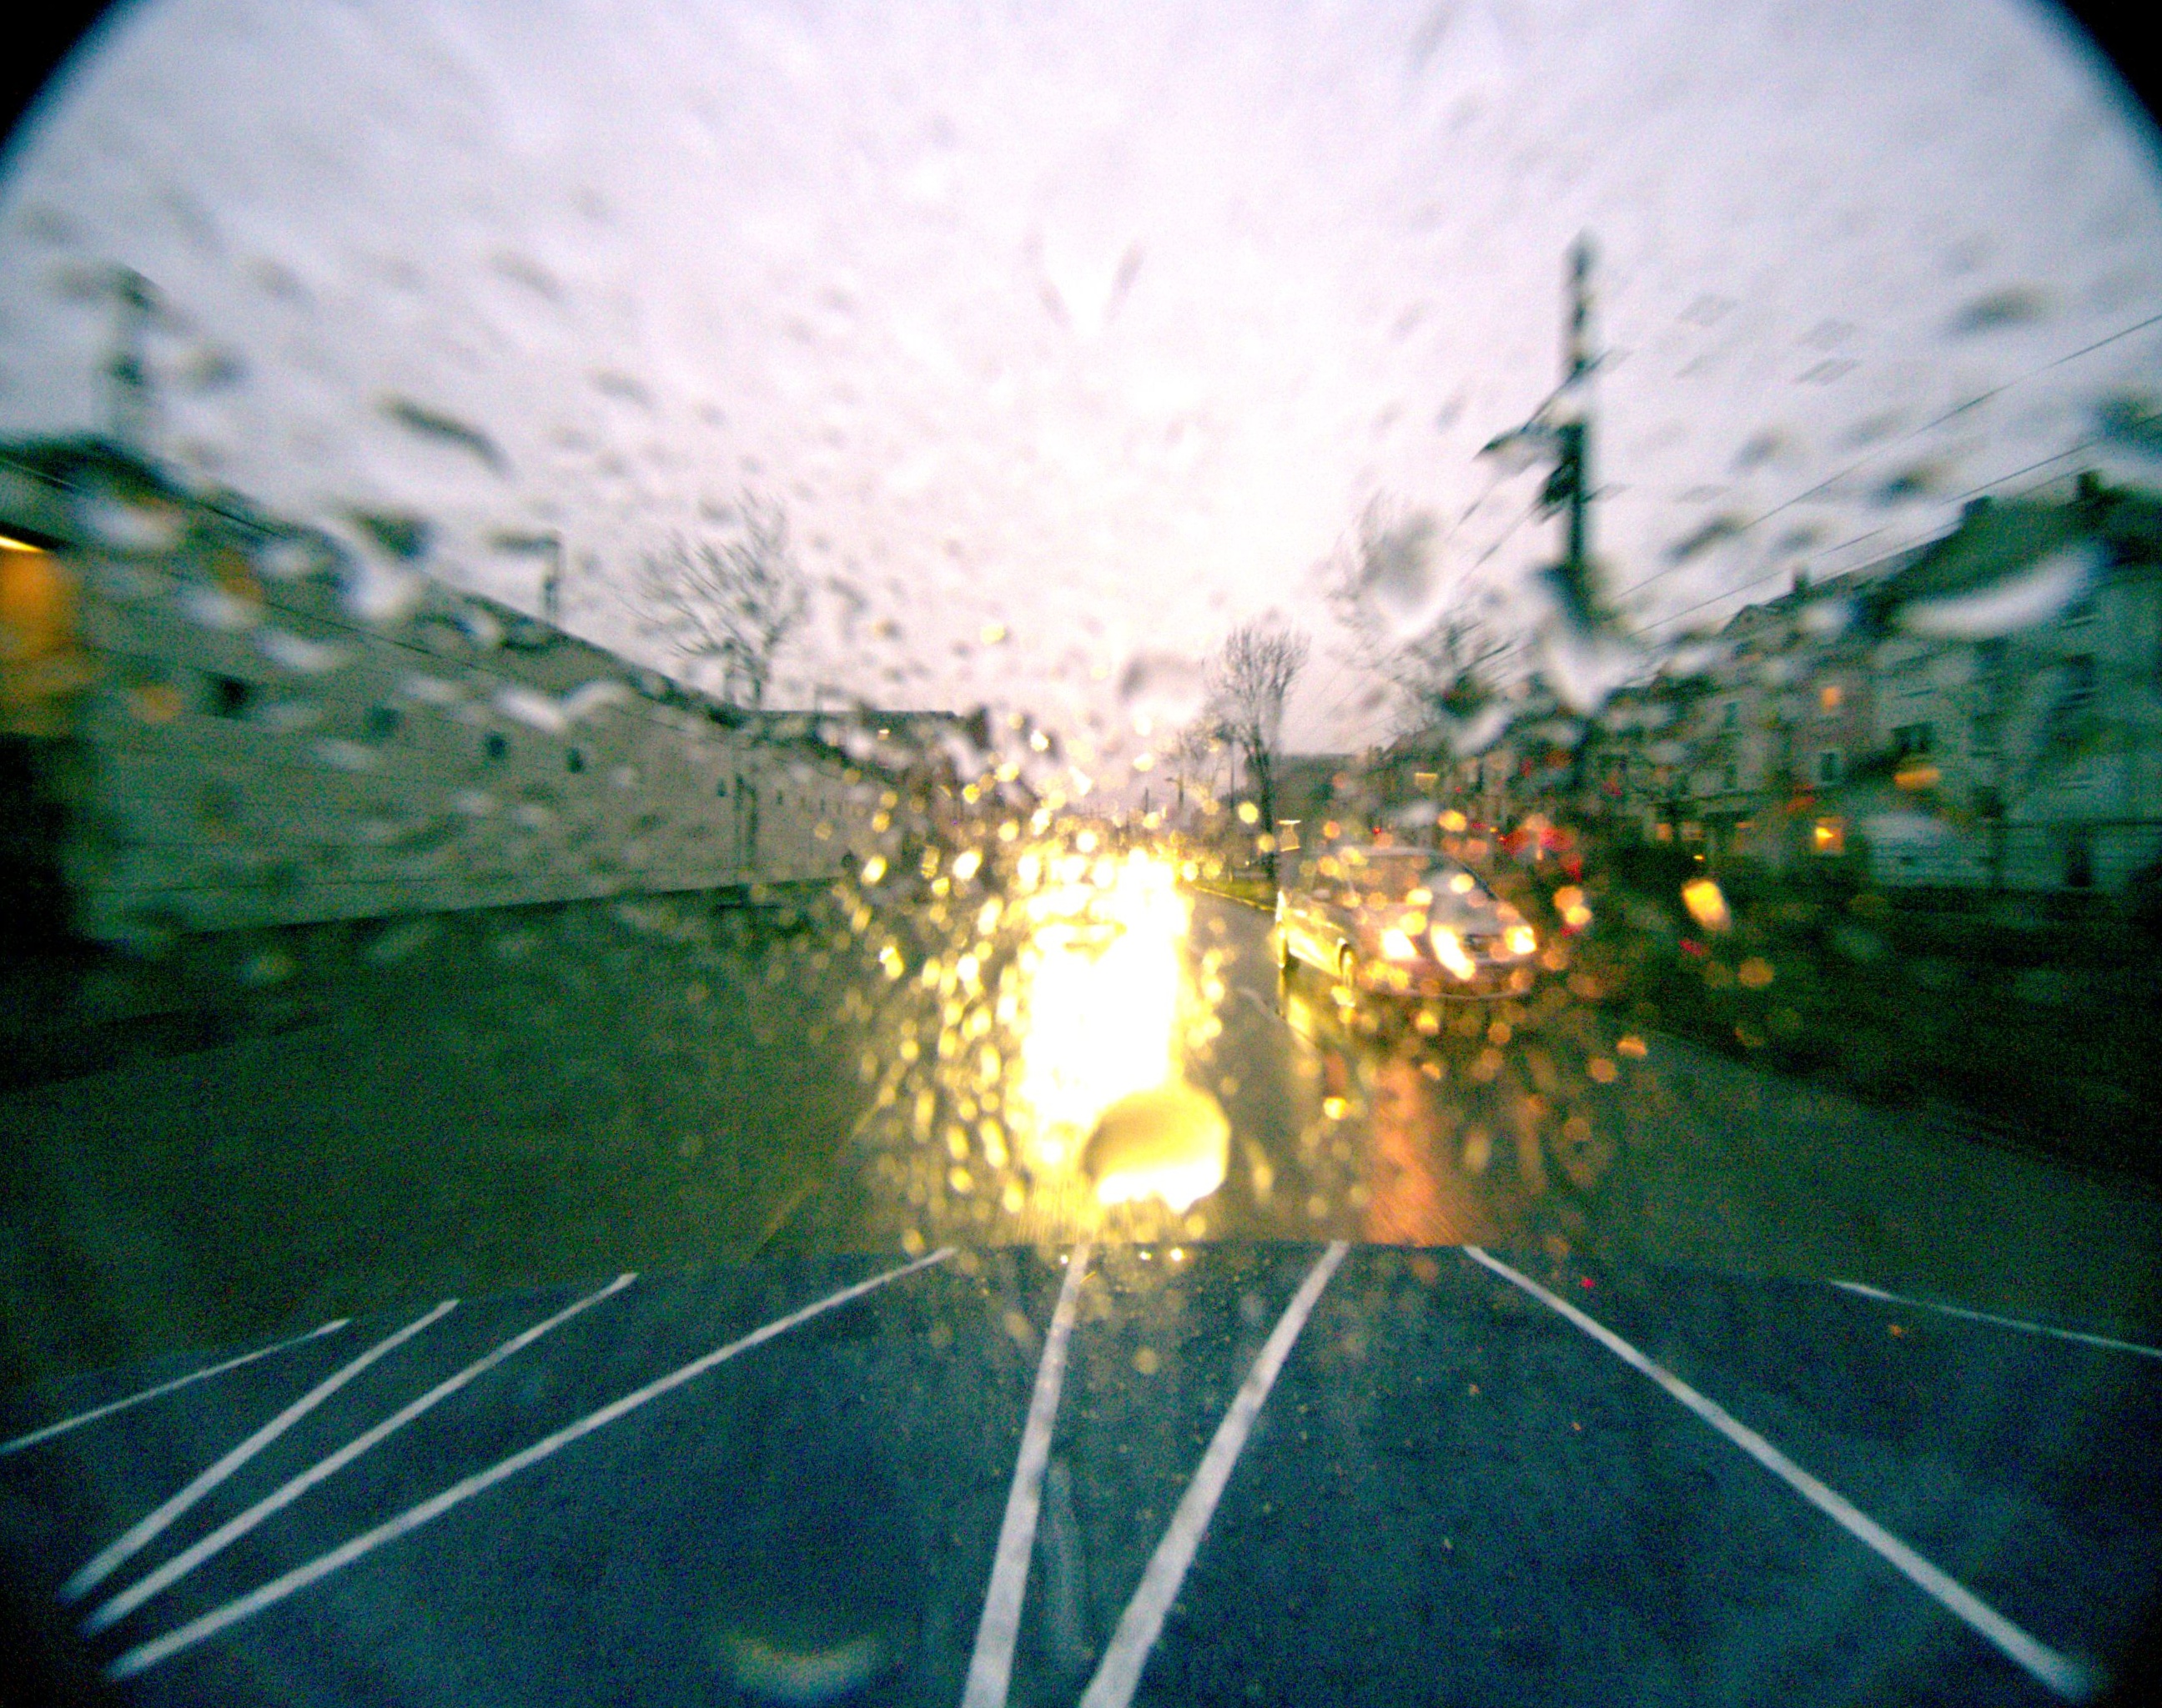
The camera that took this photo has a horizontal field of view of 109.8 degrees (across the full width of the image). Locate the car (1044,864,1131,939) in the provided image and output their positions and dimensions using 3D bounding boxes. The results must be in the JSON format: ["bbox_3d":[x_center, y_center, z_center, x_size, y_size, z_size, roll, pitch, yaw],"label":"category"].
[{"bbox_3d":[0.151,0.958,16.732,1.669,1.325,3.787,-2,1,1],"label":"car"}]

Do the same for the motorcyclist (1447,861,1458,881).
[{"bbox_3d":[20.901,0.955,42.734,0.415,1.054,0.345,-2,1,7],"label":"motorcyclist"}]

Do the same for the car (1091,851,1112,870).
[{"bbox_3d":[1.862,0.596,70.595,1.802,1.674,3.805,-2,1,1],"label":"car"}]

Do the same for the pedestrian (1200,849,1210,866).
[{"bbox_3d":[8.404,0.238,51.401,0.563,1.150,0.582,-2,1,3],"label":"pedestrian"}]

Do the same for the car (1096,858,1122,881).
[{"bbox_3d":[1.764,0.995,49.274,1.538,1.347,3.546,-2,1,1],"label":"car"}]

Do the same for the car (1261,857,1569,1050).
[{"bbox_3d":[3.237,0.838,8.264,1.638,1.510,3.907,-2,1,1],"label":"car"}]

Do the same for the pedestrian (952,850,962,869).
[{"bbox_3d":[-10.496,0.457,64.529,0.674,1.639,0.769,2,1,0],"label":"pedestrian"}]

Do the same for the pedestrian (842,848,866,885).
[{"bbox_3d":[-10.377,0.566,34.775,0.814,1.621,0.883,2,1,0],"label":"pedestrian"}]

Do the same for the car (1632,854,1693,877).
[{"bbox_3d":[47.875,0.939,62.587,3.591,1.685,1.731,-2,1,6],"label":"car"}]

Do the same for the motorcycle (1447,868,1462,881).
[{"bbox_3d":[20.886,1.149,42.511,0.422,0.679,1.176,-2,1,7],"label":"motorcycle"}]

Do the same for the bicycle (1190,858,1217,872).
[{"bbox_3d":[8.293,0.727,51.420,1.725,0.893,0.733,2,1,1],"label":"bicycle"}]

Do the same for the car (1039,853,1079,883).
[{"bbox_3d":[-1.029,0.643,37.082,1.736,1.311,3.803,-2,1,1],"label":"car"}]

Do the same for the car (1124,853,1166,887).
[{"bbox_3d":[3.088,0.751,37.372,1.905,1.475,3.656,-2,1,3],"label":"car"}]

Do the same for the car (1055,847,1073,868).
[{"bbox_3d":[-1.713,0.345,77.926,1.671,2.002,3.775,-2,1,1],"label":"car"}]
